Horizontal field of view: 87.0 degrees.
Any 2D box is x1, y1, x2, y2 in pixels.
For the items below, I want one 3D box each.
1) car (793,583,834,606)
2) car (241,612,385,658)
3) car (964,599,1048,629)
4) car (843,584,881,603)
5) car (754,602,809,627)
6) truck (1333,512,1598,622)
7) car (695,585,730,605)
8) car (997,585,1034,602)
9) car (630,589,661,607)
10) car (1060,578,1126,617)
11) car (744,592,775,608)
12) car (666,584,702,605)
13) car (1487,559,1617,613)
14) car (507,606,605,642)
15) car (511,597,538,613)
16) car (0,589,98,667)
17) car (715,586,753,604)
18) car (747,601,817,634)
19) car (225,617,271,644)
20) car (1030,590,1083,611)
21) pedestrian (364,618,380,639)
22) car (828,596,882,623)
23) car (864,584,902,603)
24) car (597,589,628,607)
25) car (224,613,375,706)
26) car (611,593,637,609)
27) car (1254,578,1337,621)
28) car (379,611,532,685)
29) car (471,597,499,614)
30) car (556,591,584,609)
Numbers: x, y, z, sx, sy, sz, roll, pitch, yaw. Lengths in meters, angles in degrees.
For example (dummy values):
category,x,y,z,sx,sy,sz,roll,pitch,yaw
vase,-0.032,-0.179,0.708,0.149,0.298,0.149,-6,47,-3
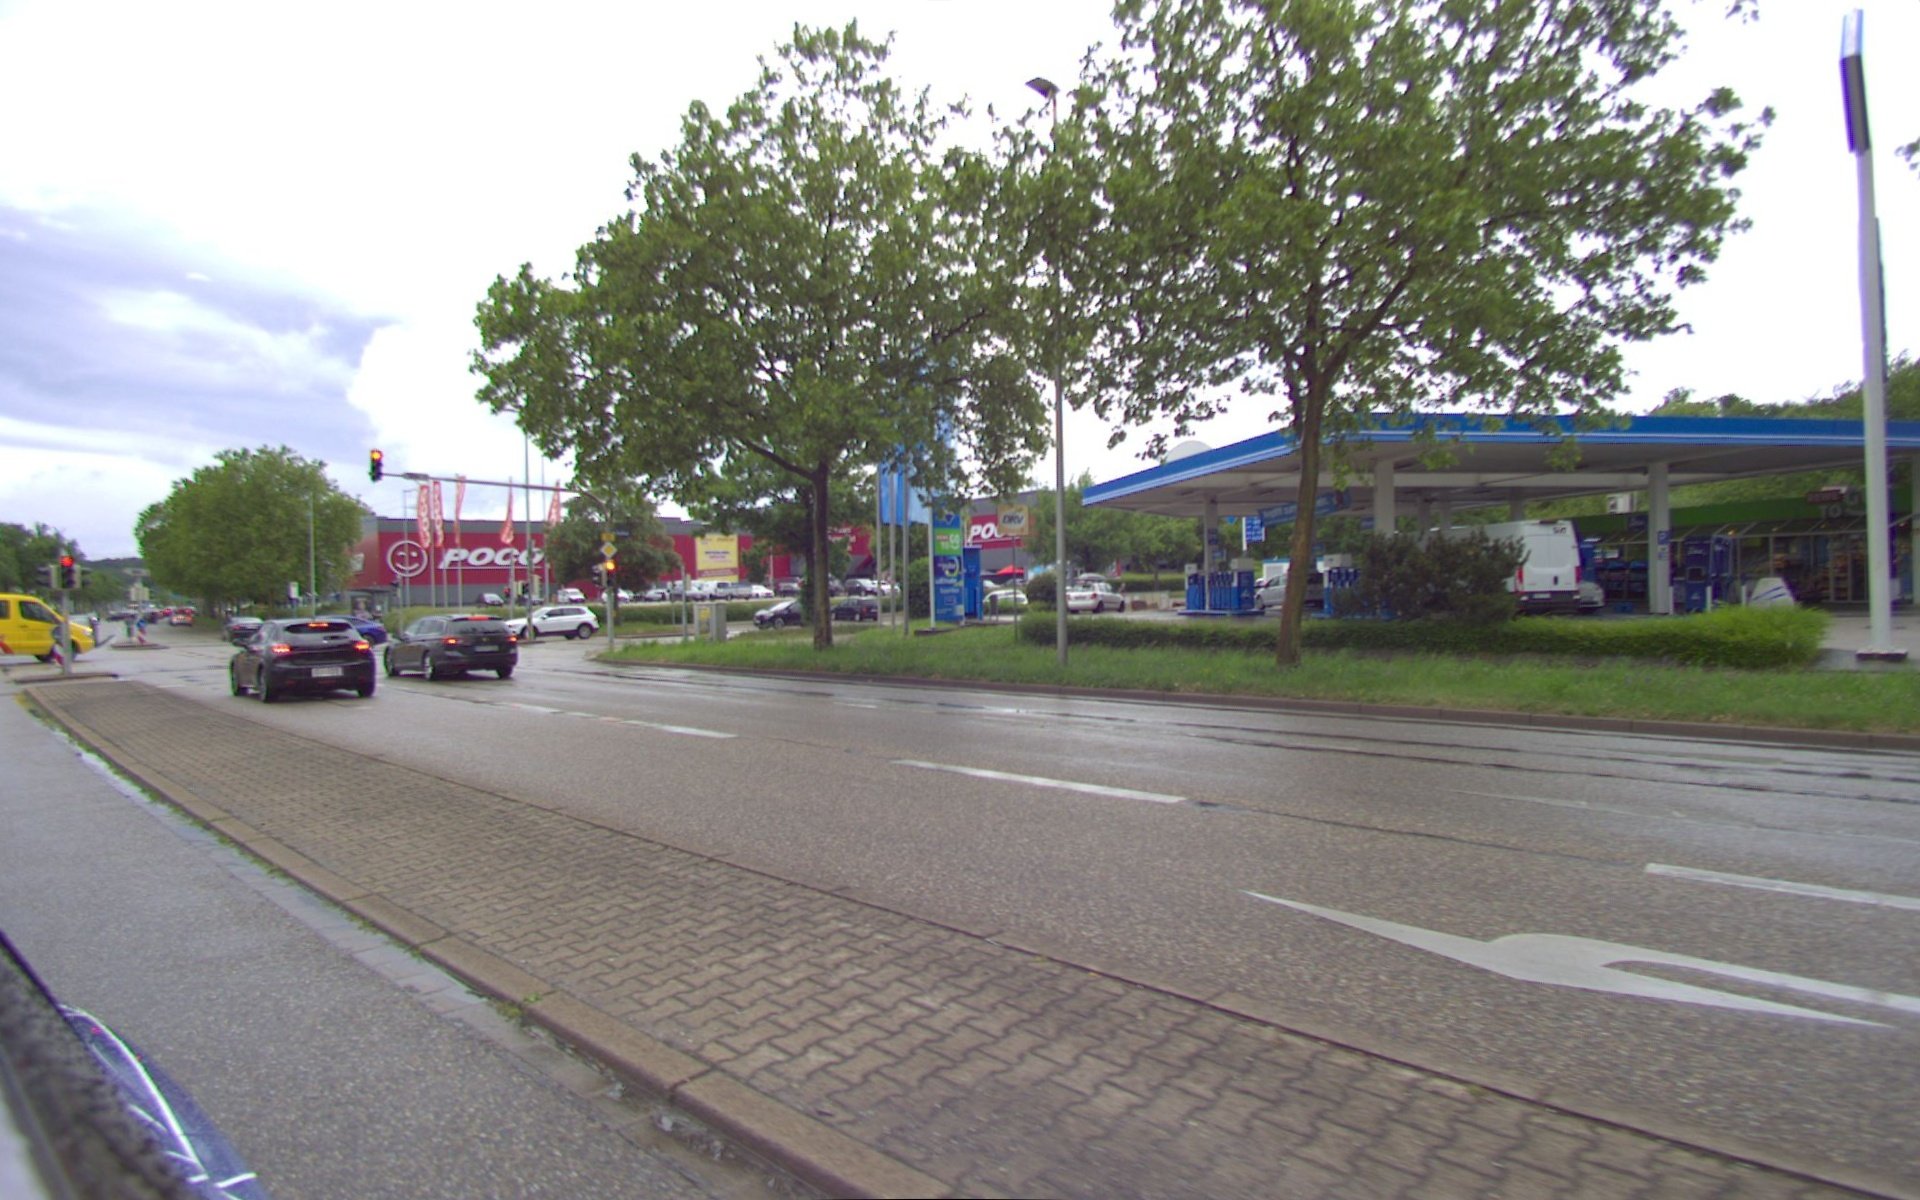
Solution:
category,x,y,z,sx,sy,sz,roll,pitch,yaw
car,-15.829,-0.547,108.967,1.797,2.321,5.659,0,-1,-38
car,-25.274,1.325,39.646,1.802,1.645,4.486,-2,-1,43
car,2.543,0.791,56.499,4.588,1.601,1.902,-2,-1,44
car,-8.975,-0.577,92.409,1.646,1.658,3.834,0,-1,-38
car,-11.627,0.965,65.846,3.662,1.565,1.660,-2,-1,44
truck,14.107,-0.745,29.197,2.119,2.695,7.894,-1,-1,-14
car,-21.980,-0.459,89.705,1.606,1.658,3.834,0,-1,-38
car,5.694,-0.694,104.447,1.646,1.658,3.834,0,-1,-38
car,-31.693,-0.206,102.005,1.646,1.658,3.970,0,-1,-38
car,6.532,-0.096,49.383,1.809,1.811,3.658,-1,0,33
car,-21.589,-0.021,108.836,1.646,1.658,3.970,0,-1,-38
car,-23.904,-0.449,87.451,1.646,1.658,3.834,0,-1,-38
car,18.562,-0.447,31.914,1.662,1.594,3.569,-1,1,-8
car,-19.289,1.132,48.444,1.902,1.565,3.943,-2,-1,43
car,-47.243,0.574,109.717,1.670,1.658,3.970,0,-1,-38
car,-32.447,0.991,33.882,2.240,2.492,4.960,-3,1,33
car,-19.380,-0.426,86.596,1.646,1.391,3.917,-1,-1,-38
car,-9.933,0.942,56.628,3.485,1.709,1.604,-2,1,-42
car,-40.829,1.737,57.976,1.761,1.415,4.006,0,-1,-41
car,7.913,0.082,83.192,1.659,1.621,4.291,0,-1,-42
pedestrian,-39.128,1.897,67.334,0.769,1.442,0.642,1,-2,-43
car,-7.153,0.651,68.851,3.662,1.737,1.660,-2,-1,44
car,-7.233,-0.587,94.500,1.646,1.658,3.834,0,-1,-38
car,-34.655,-0.176,100.881,1.646,1.658,3.970,0,-1,-38
car,-12.269,1.033,18.702,1.624,1.520,3.896,0,-1,-44
car,-38.570,0.130,116.110,1.670,1.658,3.970,0,-1,-38
car,15.133,-0.043,45.880,1.915,1.821,4.135,-1,1,-8
car,-11.916,1.071,23.751,1.970,1.520,4.735,0,-1,-43
car,-48.286,0.553,102.840,1.670,1.658,3.970,0,-1,-38
car,-43.654,0.023,113.164,1.763,1.940,3.756,0,-1,-40
